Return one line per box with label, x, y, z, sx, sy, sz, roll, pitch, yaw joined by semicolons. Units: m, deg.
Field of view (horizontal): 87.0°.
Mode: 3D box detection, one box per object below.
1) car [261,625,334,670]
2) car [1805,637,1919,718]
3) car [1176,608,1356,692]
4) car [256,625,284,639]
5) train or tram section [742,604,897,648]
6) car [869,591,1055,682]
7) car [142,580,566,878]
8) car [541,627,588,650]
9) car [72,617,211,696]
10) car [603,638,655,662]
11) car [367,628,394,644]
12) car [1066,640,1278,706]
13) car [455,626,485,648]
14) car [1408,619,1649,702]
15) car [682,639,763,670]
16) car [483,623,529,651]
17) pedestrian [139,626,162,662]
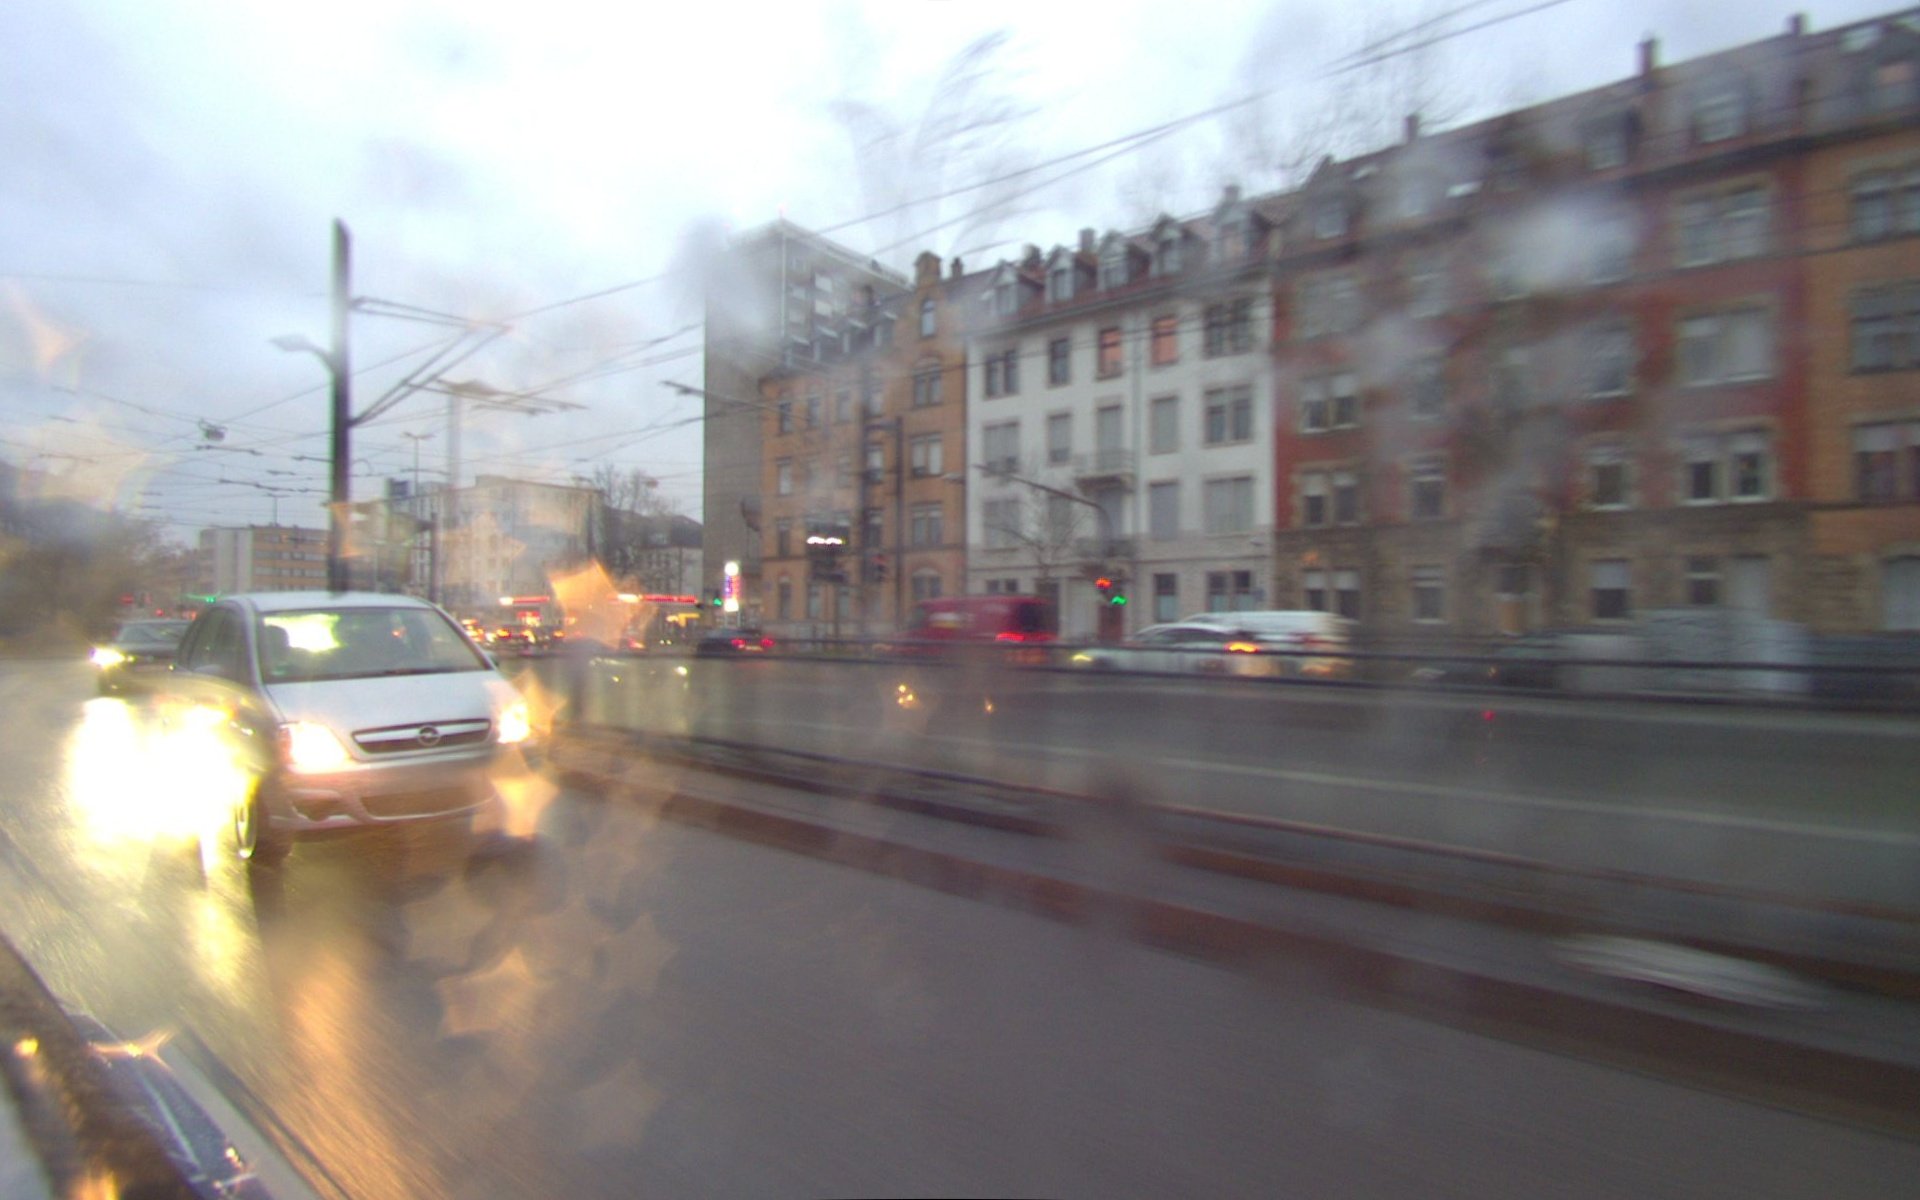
car;-27.357;1.945;41.910;1.789;1.756;4.200;1;-3;-24
car;15.144;1.180;15.604;3.190;1.217;1.521;-2;-3;39
car;7.741;1.255;25.761;3.940;1.955;1.973;-2;-3;40
car;-74.356;3.430;109.050;3.851;1.461;1.626;-1;-2;43
train or tram section;-10.838;1.934;81.357;3.157;3.212;16.142;-1;-1;30
car;-0.028;1.027;28.417;5.264;2.327;1.972;-2;-3;42
car;-4.570;0.734;7.343;4.110;1.560;1.627;-2;-2;44
car;-24.218;2.355;61.874;1.657;1.364;4.398;1;-2;-35
car;-17.624;1.196;21.979;1.724;1.556;4.012;2;-3;-30
car;-16.807;2.496;51.324;1.578;1.142;3.800;1;-2;-33
car;-60.454;3.787;105.546;1.967;1.657;4.009;2;-3;-36
car;4.343;1.458;21.086;4.083;1.255;1.521;-2;-3;39
car;-34.007;2.566;70.201;1.467;1.498;3.161;1;-2;-33
car;9.170;0.957;16.416;3.190;1.217;1.521;-2;-4;39
car;-9.982;2.248;42.308;1.518;1.236;4.092;2;-3;-42
car;-26.433;2.149;58.844;1.657;1.565;4.132;1;-2;-35
pedestrian;-43.437;2.352;54.300;0.564;1.852;0.685;7;-6;-23
